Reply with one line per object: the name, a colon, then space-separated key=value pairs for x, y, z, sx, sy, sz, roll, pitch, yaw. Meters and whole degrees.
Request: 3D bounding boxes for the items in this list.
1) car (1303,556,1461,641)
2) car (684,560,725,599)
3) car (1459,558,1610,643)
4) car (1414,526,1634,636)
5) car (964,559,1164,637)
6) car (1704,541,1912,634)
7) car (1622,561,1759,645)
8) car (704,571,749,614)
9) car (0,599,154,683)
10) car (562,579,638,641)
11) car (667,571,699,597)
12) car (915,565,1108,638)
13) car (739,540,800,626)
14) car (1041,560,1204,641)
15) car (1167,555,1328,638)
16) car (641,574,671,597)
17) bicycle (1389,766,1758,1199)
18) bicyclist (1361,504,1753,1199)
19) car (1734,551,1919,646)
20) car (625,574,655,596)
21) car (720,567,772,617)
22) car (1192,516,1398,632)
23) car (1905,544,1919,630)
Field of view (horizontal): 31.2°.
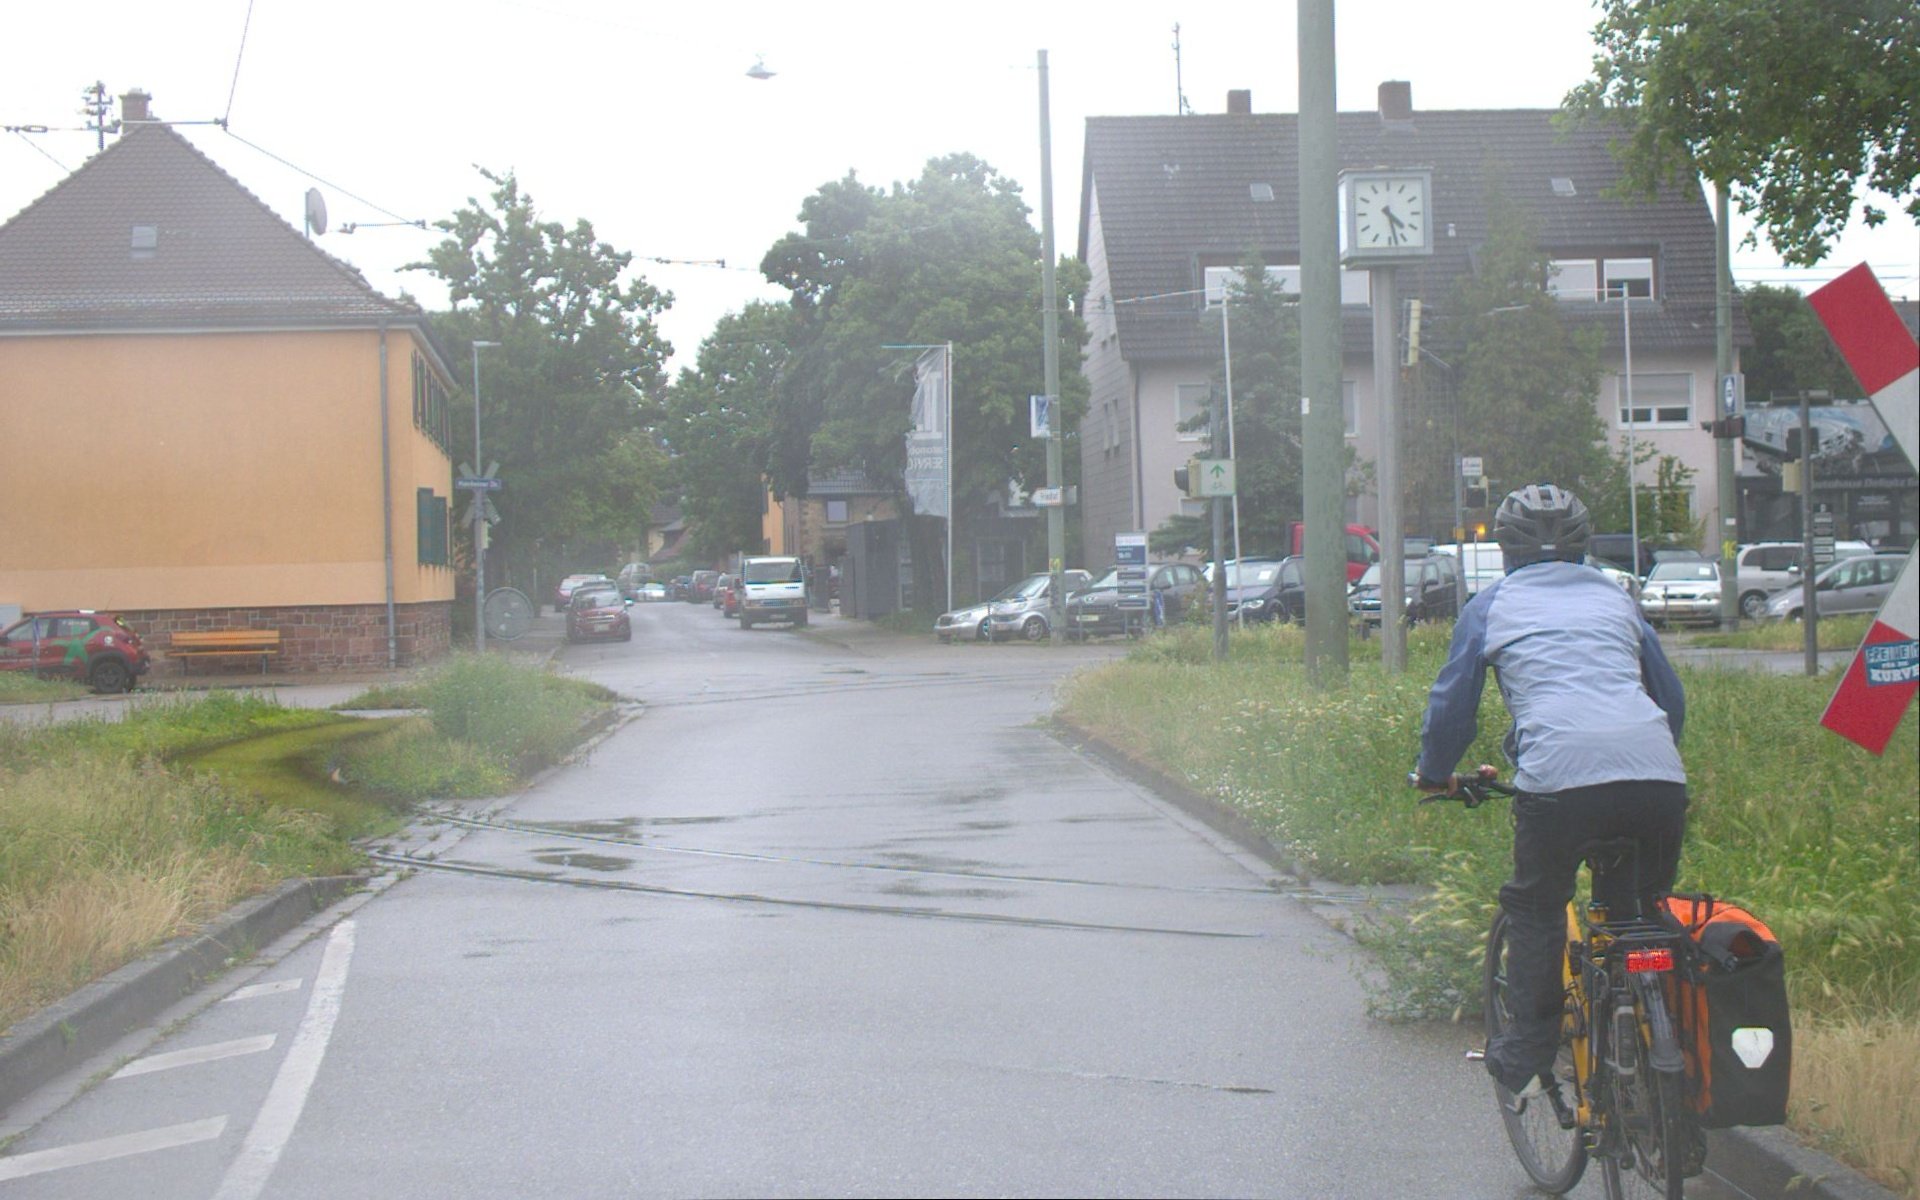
car: x=8.514 y=-0.023 z=69.178 sx=1.996 sy=1.634 sz=3.994 roll=1 pitch=0 yaw=25
car: x=-12.133 y=-0.986 z=163.497 sx=1.804 sy=1.805 sz=4.000 roll=1 pitch=0 yaw=-2
car: x=11.632 y=0.018 z=69.393 sx=1.996 sy=1.634 sz=3.994 roll=1 pitch=0 yaw=25
car: x=12.288 y=-0.409 z=75.053 sx=4.395 sy=2.317 sz=2.000 roll=1 pitch=0 yaw=-2
car: x=2.296 y=-0.042 z=75.692 sx=3.987 sy=1.670 sz=2.000 roll=1 pitch=0 yaw=-36
car: x=18.492 y=-0.271 z=75.082 sx=3.986 sy=1.944 sz=2.000 roll=1 pitch=0 yaw=-2
car: x=14.862 y=0.060 z=69.779 sx=1.843 sy=1.634 sz=3.994 roll=1 pitch=0 yaw=25
car: x=-9.923 y=-0.325 z=146.262 sx=1.804 sy=1.805 sz=4.000 roll=1 pitch=0 yaw=-2
car: x=-16.566 y=0.719 z=61.448 sx=3.986 sy=1.451 sz=1.834 roll=1 pitch=0 yaw=-6
car: x=-9.884 y=0.254 z=94.555 sx=1.804 sy=1.645 sz=4.000 roll=1 pitch=0 yaw=-2
car: x=-16.921 y=-0.965 z=210.117 sx=1.804 sy=1.558 sz=4.000 roll=1 pitch=0 yaw=-2
car: x=1.190 y=0.038 z=78.762 sx=3.987 sy=1.637 sz=2.000 roll=1 pitch=0 yaw=-36
car: x=-5.904 y=-0.518 z=106.896 sx=1.804 sy=2.618 sz=4.000 roll=1 pitch=0 yaw=-2
car: x=3.411 y=0.017 z=71.599 sx=1.996 sy=1.634 sz=3.994 roll=1 pitch=0 yaw=25
car: x=5.922 y=-0.059 z=70.350 sx=1.996 sy=1.634 sz=3.994 roll=1 pitch=0 yaw=25
car: x=-20.108 y=-0.970 z=227.306 sx=1.804 sy=1.456 sz=4.000 roll=1 pitch=0 yaw=-2
bicycle: x=1.299 y=0.924 z=7.526 sx=0.446 sy=1.001 sz=1.728 roll=-1 pitch=1 yaw=-2
bicyclist: x=1.276 y=0.618 z=7.489 sx=0.667 sy=1.620 sz=0.853 roll=1 pitch=0 yaw=-2
car: x=16.458 y=-0.027 z=63.916 sx=3.685 sy=1.695 sz=1.890 roll=1 pitch=0 yaw=0
car: x=-21.649 y=-0.994 z=232.581 sx=1.804 sy=1.456 sz=4.000 roll=1 pitch=0 yaw=-2
car: x=-7.863 y=-0.282 z=126.774 sx=1.804 sy=1.805 sz=4.000 roll=1 pitch=0 yaw=-2
car: x=7.672 y=-0.593 z=78.626 sx=4.398 sy=2.557 sz=1.999 roll=1 pitch=0 yaw=14
car: x=20.998 y=-0.256 z=71.095 sx=1.994 sy=1.784 sz=3.999 roll=1 pitch=0 yaw=4
